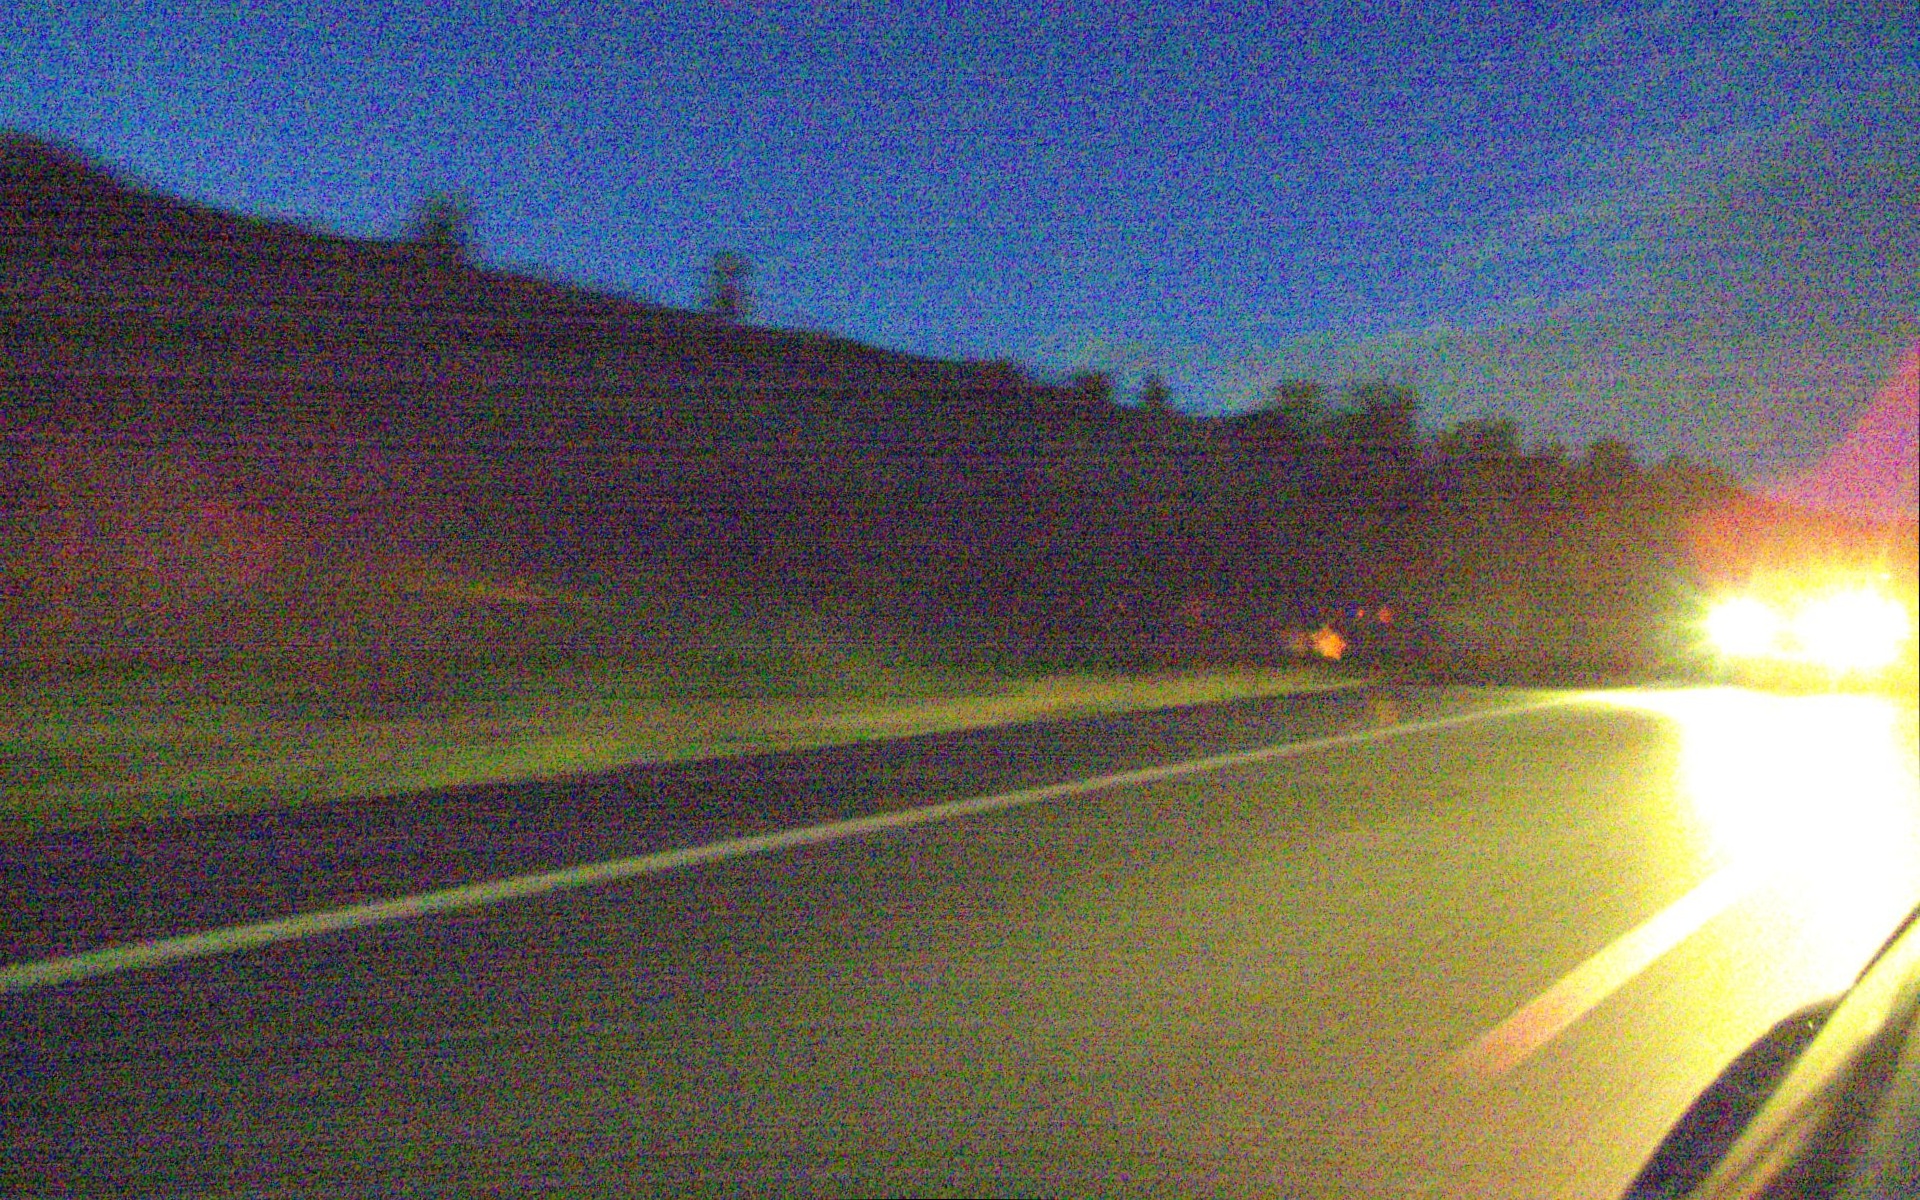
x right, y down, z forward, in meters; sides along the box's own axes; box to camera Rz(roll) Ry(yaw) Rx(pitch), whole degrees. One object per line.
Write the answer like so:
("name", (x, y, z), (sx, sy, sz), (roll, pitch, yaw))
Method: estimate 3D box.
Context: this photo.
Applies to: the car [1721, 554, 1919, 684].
("car", (15.815, 0.270, 18.441), (5.567, 2.026, 2.118), (0, 1, -42))
